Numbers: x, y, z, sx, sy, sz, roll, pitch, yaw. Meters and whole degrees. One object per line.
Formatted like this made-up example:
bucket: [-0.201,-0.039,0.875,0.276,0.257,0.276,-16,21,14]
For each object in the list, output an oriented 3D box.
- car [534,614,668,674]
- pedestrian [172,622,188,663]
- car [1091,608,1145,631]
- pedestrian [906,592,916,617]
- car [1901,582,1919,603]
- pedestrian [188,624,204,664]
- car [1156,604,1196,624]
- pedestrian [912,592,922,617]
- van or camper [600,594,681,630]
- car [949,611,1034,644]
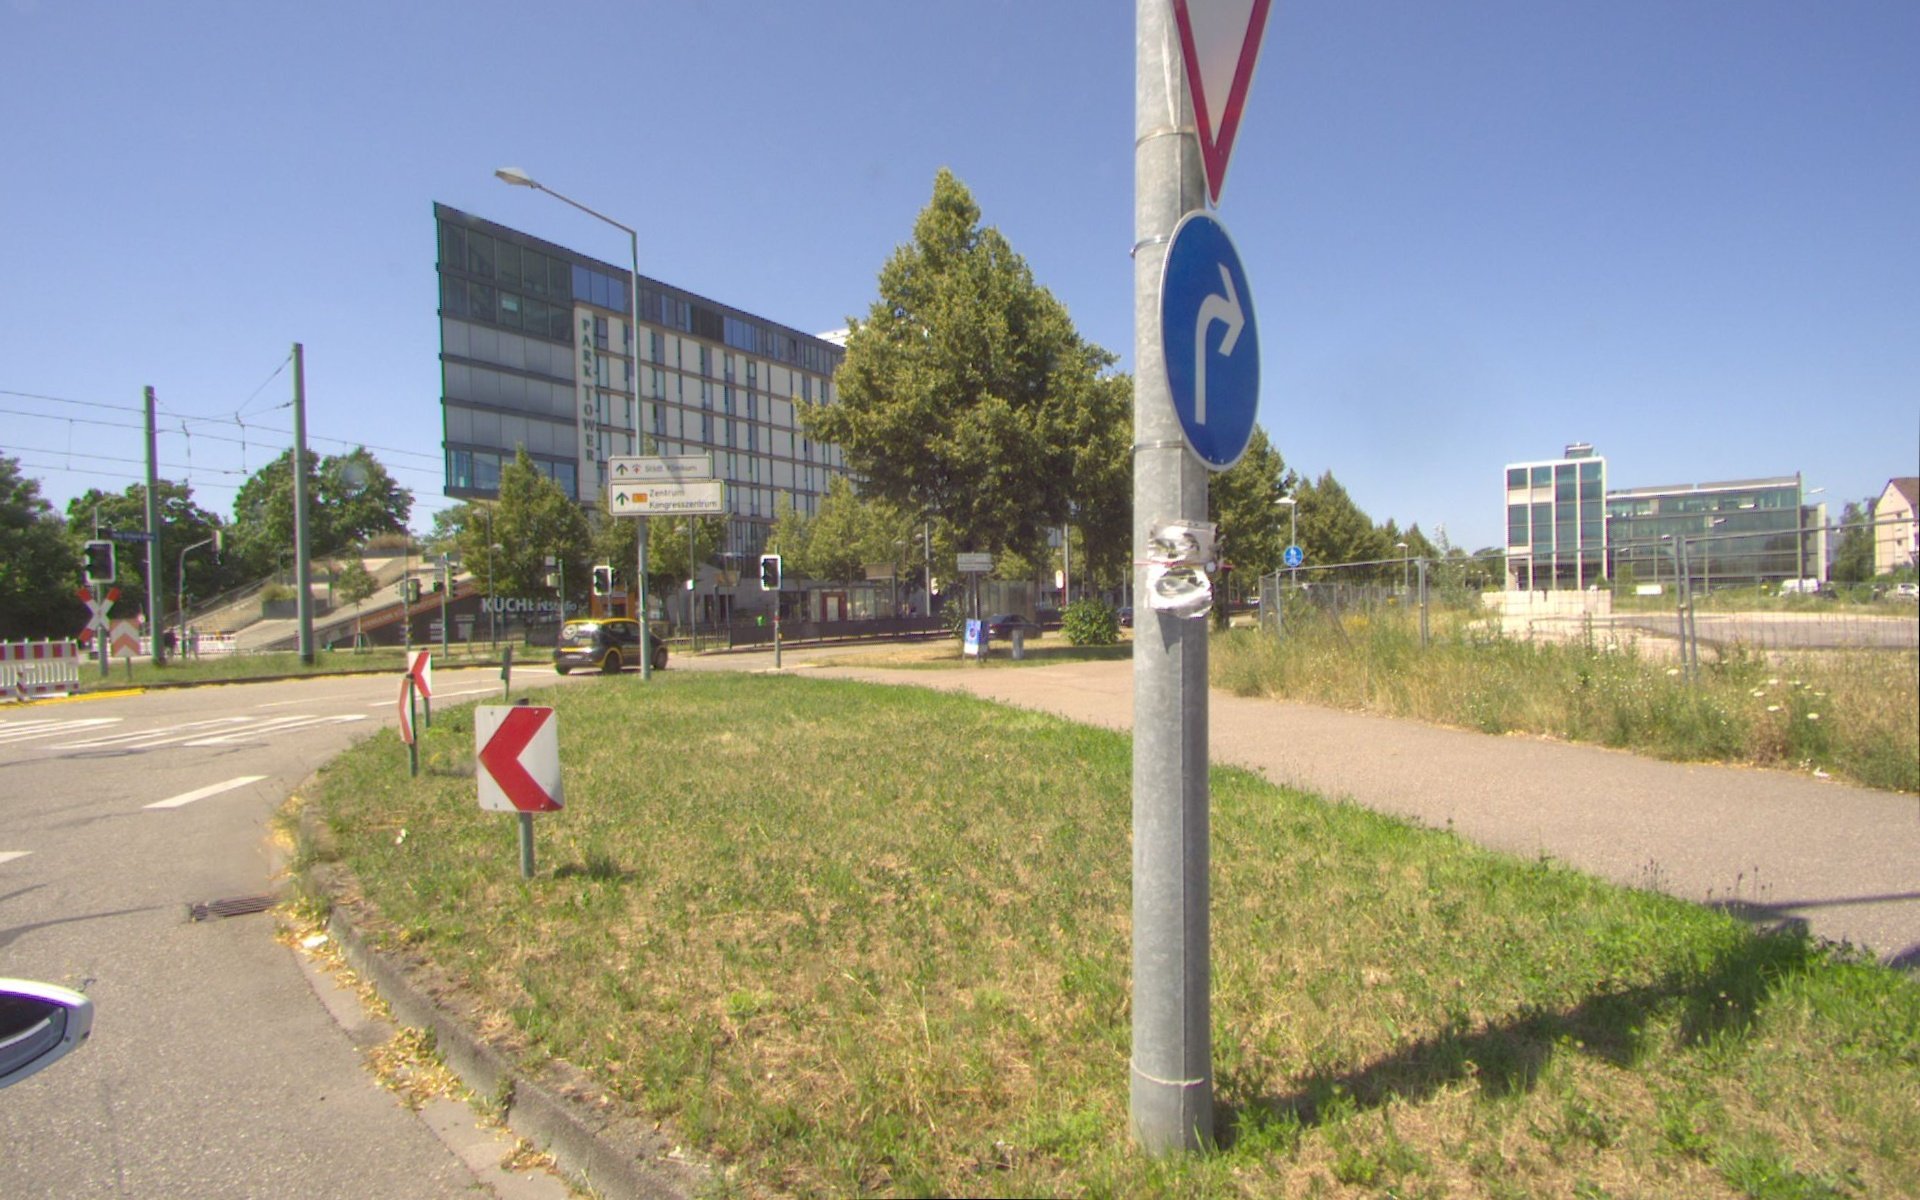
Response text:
car: [-9.580,1.153,27.064,1.593,1.470,3.985,-1,-1,11]
pedestrian: [-33.972,1.847,43.615,0.287,1.762,0.447,-1,0,29]
car: [10.815,1.351,68.162,1.971,1.467,4.735,-1,-2,31]
pedestrian: [-3.487,0.327,71.082,0.404,1.775,0.583,-1,0,27]
car: [76.668,-0.607,79.644,1.654,1.606,3.610,-2,-2,26]
pedestrian: [-33.666,1.921,44.105,0.313,1.762,0.447,-1,0,29]
car: [16.794,1.117,77.771,1.829,1.467,4.332,-1,-2,30]
pedestrian: [-3.069,0.297,71.601,0.404,1.775,0.583,-1,0,27]
van or camper: [-26.637,0.966,83.707,2.346,2.859,6.760,-1,-1,28]
car: [1.540,1.275,47.088,1.971,1.467,4.627,-1,-2,32]
